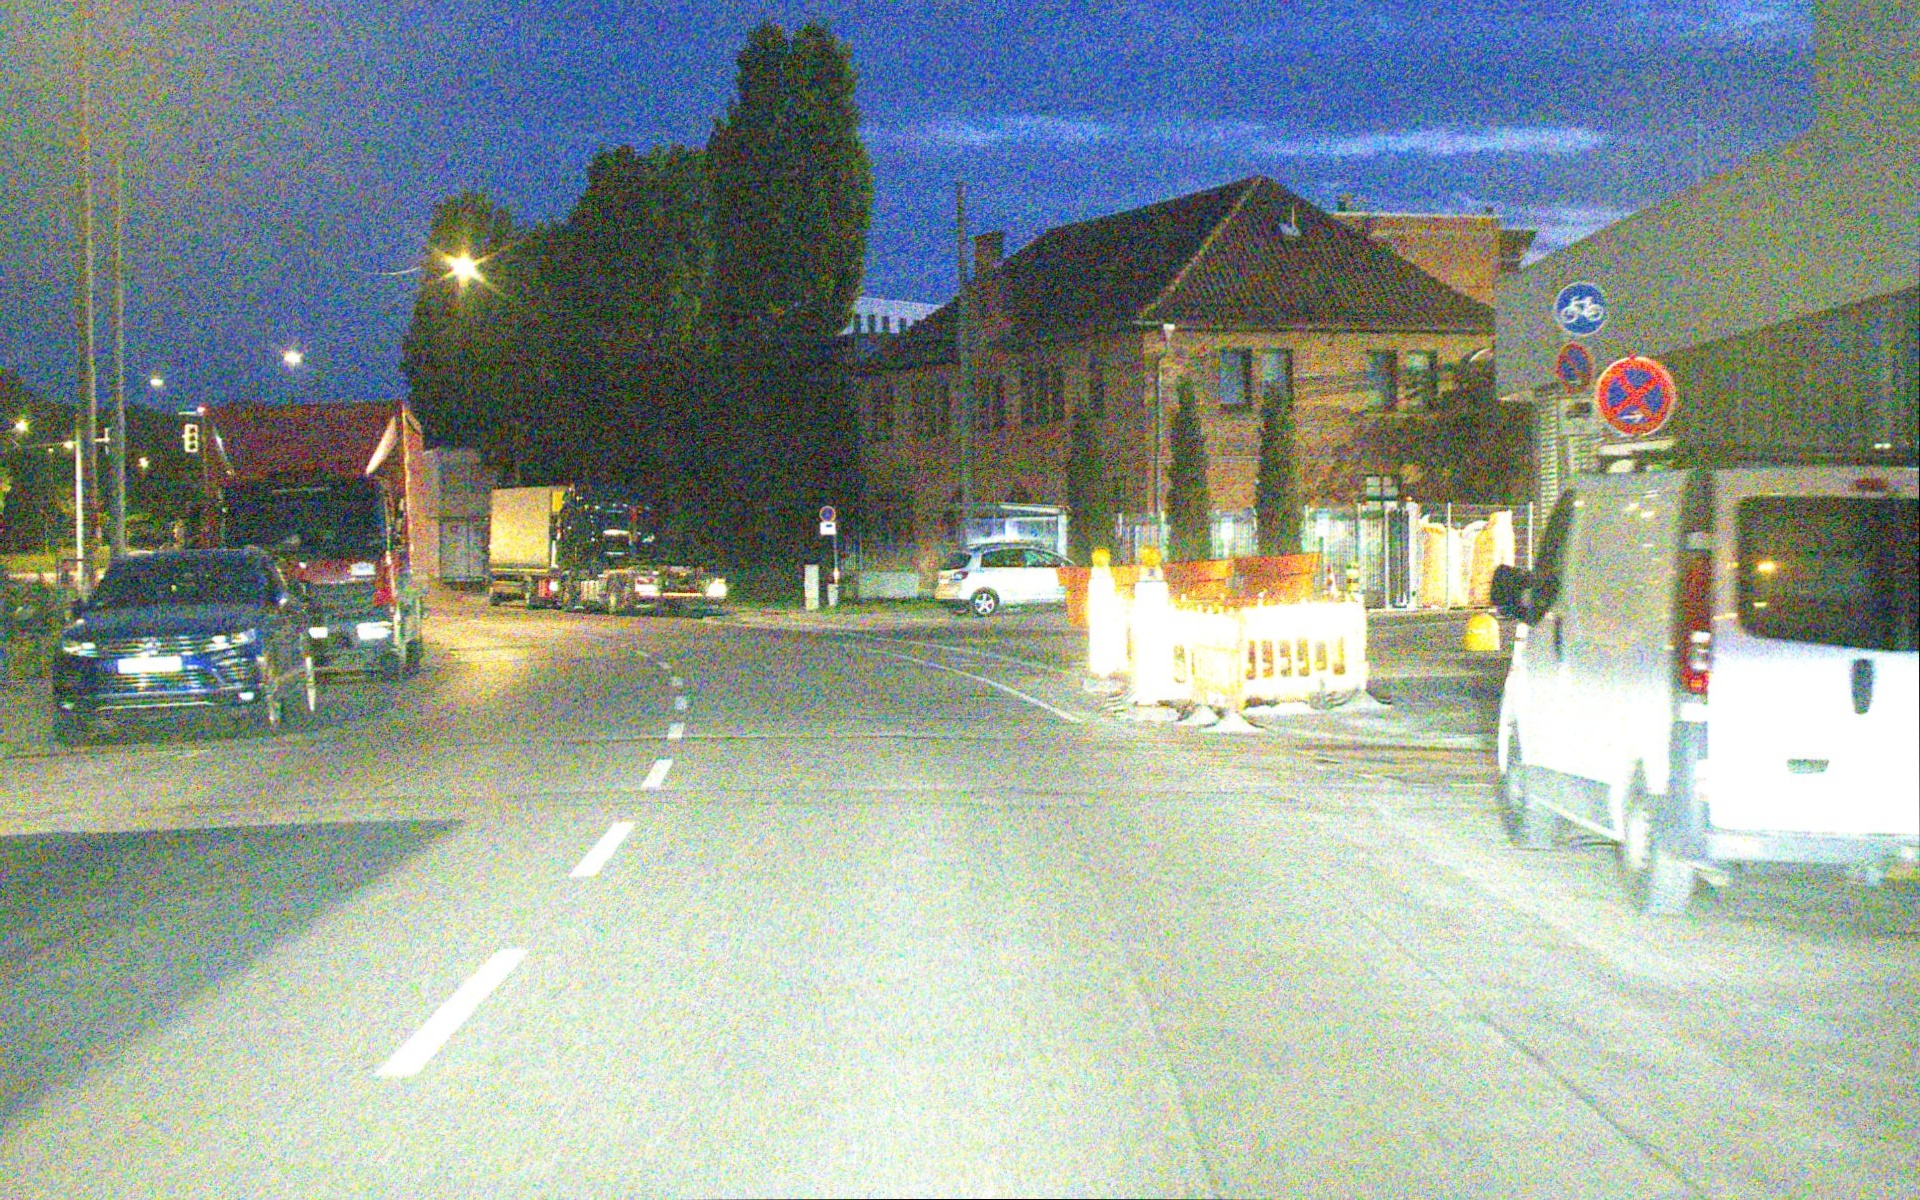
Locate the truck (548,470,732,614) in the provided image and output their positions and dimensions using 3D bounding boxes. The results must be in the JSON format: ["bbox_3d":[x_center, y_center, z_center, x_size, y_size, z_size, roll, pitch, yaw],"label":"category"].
[{"bbox_3d":[-9.001,-1.590,95.582,2.754,3.770,9.139,-1,1,-20],"label":"truck"}]

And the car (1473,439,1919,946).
[{"bbox_3d":[3.788,0.323,16.186,1.993,2.007,4.912,-1,1,0],"label":"car"}]

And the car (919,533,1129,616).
[{"bbox_3d":[1.466,-0.604,78.648,4.325,1.640,1.893,-4,2,-21],"label":"car"}]

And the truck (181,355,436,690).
[{"bbox_3d":[-8.772,-1.032,47.230,2.772,4.106,9.343,-1,1,-7],"label":"truck"}]

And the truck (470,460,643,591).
[{"bbox_3d":[-12.476,-2.229,105.274,2.754,3.770,10.228,-1,1,-21],"label":"truck"}]

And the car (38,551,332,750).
[{"bbox_3d":[-7.243,0.404,32.640,1.943,1.711,5.199,-1,1,-4],"label":"car"}]
